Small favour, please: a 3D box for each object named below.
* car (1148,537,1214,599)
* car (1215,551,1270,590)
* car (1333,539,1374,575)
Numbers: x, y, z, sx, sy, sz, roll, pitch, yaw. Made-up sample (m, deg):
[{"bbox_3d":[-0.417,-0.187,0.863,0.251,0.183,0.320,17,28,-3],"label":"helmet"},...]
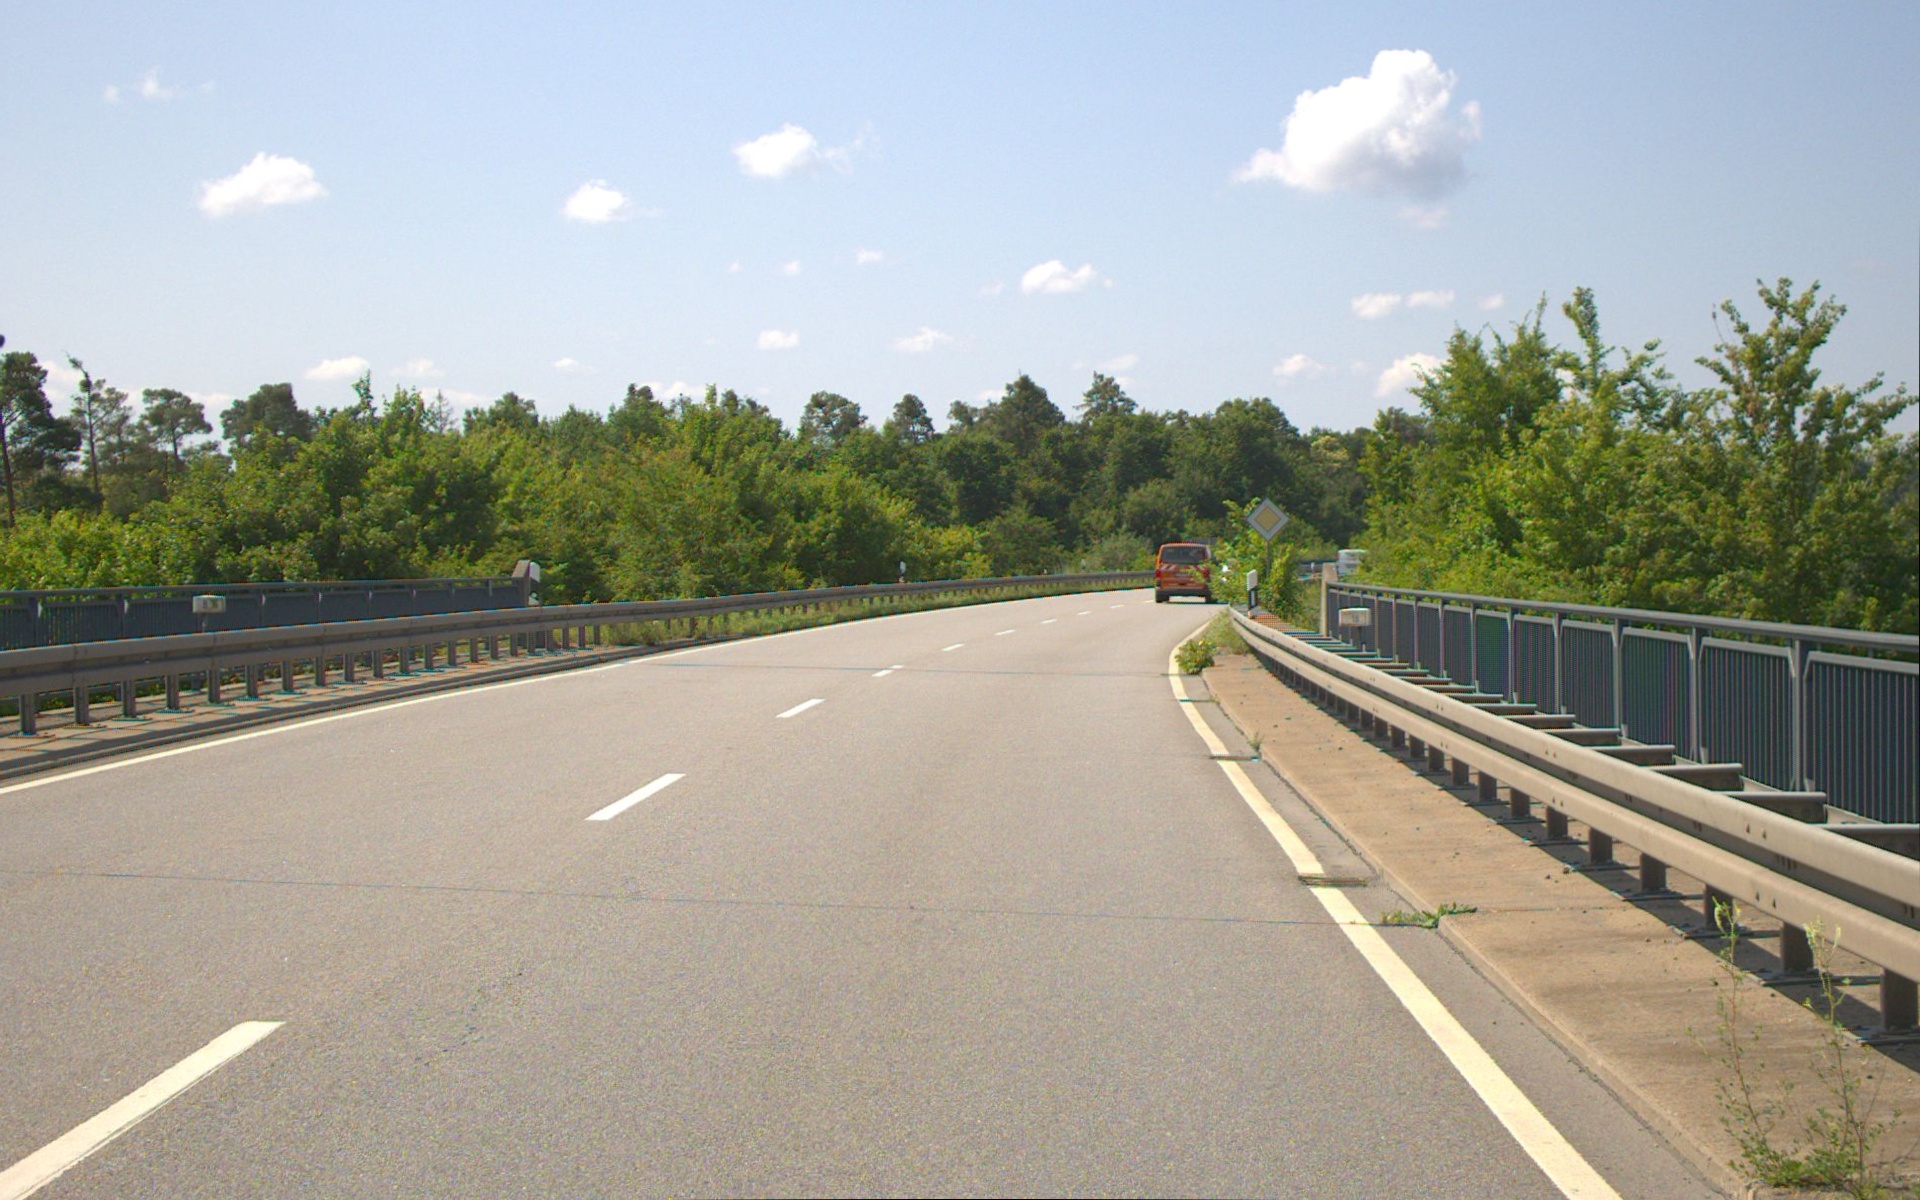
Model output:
[{"bbox_3d":[7.290,-1.052,113.978,2.077,1.986,5.111,1,0,3],"label":"car"},{"bbox_3d":[11.191,-1.154,136.406,2.007,1.488,4.238,1,0,3],"label":"car"},{"bbox_3d":[22.250,-2.420,194.649,2.185,1.948,5.803,2,1,6],"label":"car"}]
